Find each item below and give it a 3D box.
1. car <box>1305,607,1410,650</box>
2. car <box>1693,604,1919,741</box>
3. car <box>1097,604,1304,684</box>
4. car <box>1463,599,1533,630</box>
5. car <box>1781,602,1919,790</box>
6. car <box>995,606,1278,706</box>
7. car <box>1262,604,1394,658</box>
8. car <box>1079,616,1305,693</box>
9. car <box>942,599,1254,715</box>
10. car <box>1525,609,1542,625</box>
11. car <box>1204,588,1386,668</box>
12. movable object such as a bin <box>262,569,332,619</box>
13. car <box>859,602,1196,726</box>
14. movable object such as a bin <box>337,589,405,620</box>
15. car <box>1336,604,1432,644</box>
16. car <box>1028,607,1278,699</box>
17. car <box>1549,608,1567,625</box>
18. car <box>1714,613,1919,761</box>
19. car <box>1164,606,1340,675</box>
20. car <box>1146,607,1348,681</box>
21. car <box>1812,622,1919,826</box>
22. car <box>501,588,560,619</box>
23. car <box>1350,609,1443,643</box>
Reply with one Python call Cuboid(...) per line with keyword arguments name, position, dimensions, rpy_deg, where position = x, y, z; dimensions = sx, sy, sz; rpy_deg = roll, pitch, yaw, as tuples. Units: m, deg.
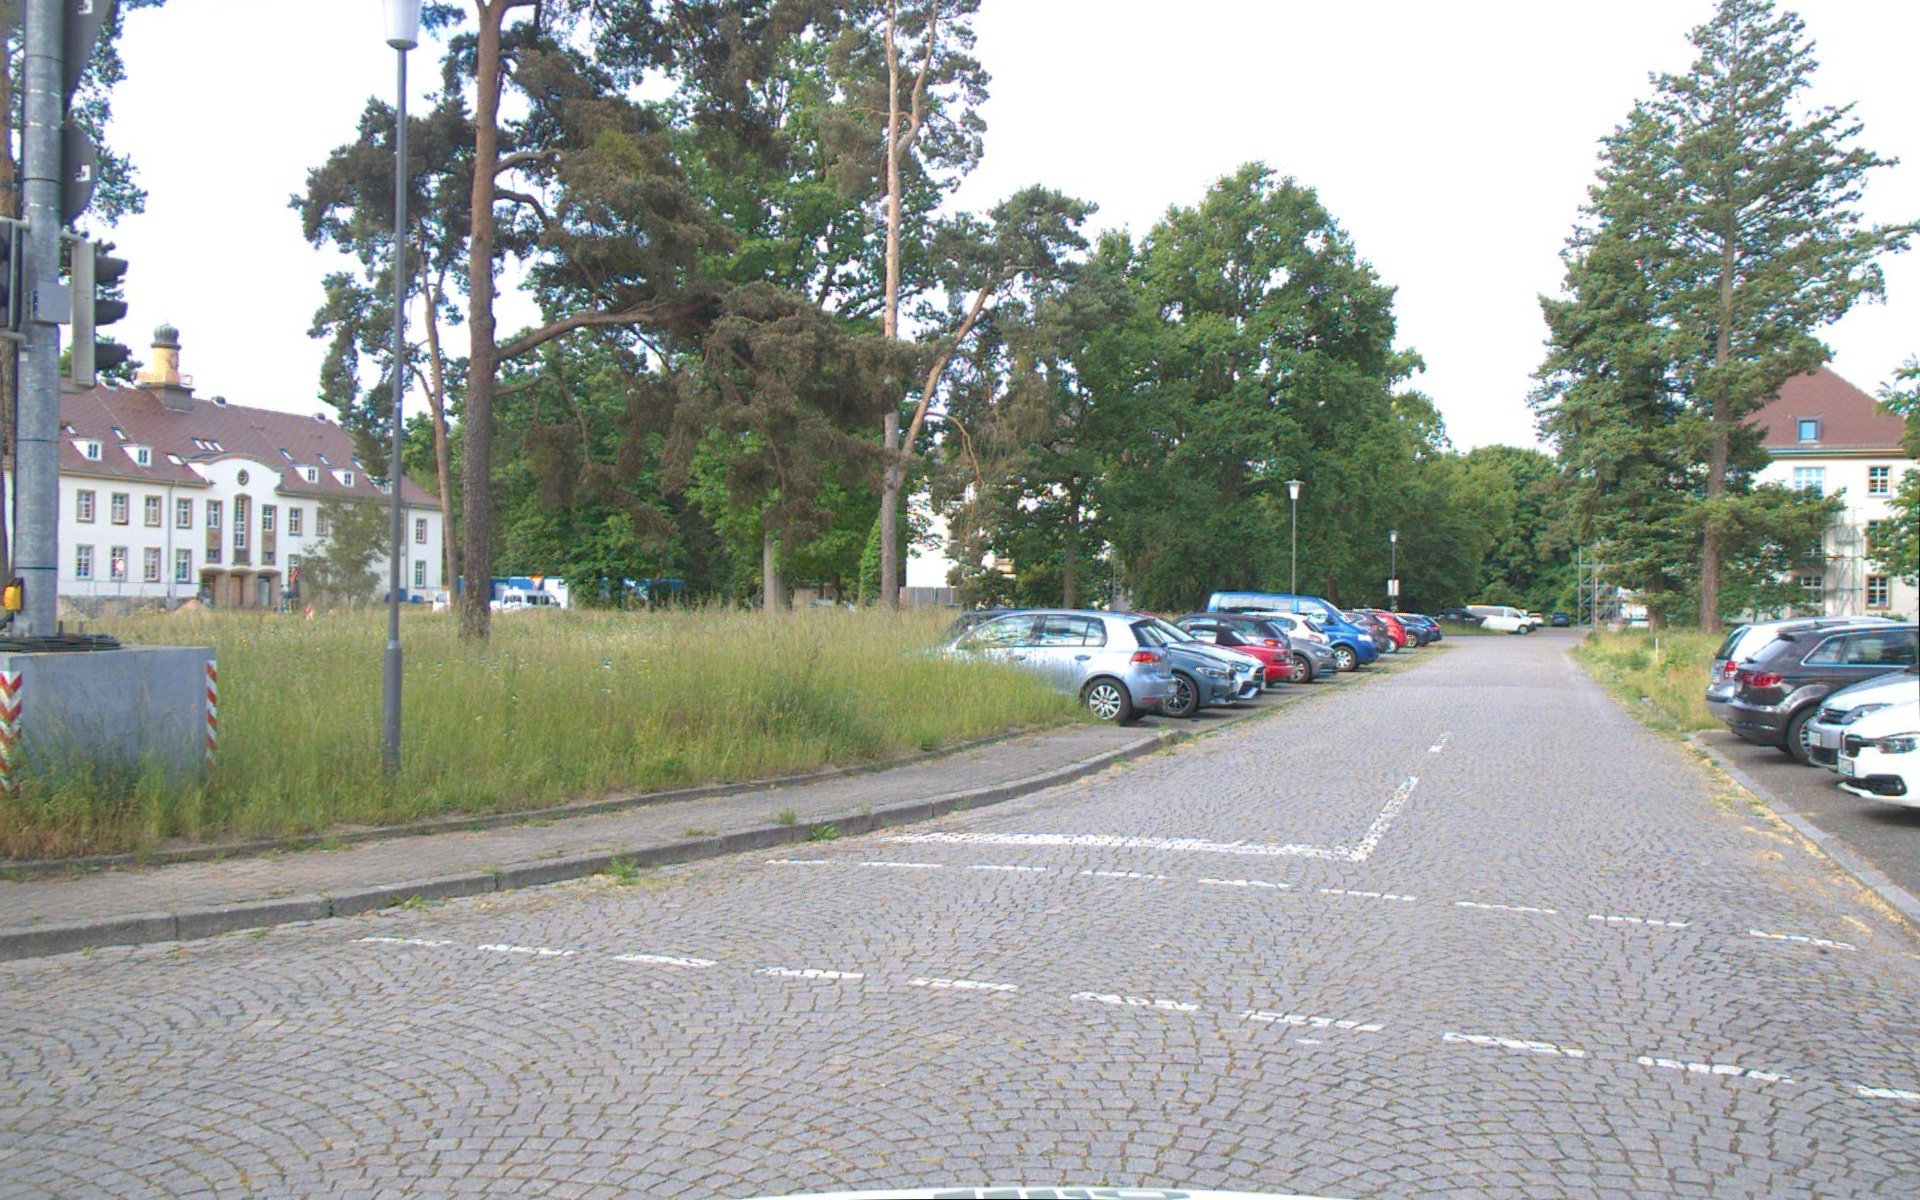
Cuboid(name="car", position=(15.181, 1.060, 63.177), dimensions=(3.736, 1.515, 1.788), rpy_deg=(1, 0, 19))
Cuboid(name="car", position=(11.011, 0.845, 19.982), dimensions=(3.692, 1.505, 1.744), rpy_deg=(-2, 0, 17))
Cuboid(name="car", position=(5.056, 0.889, 34.681), dimensions=(4.004, 1.506, 1.755), rpy_deg=(1, 0, 21))
Cuboid(name="car", position=(39.765, 1.101, 122.282), dimensions=(4.874, 2.109, 2.052), rpy_deg=(2, -1, 18))
Cuboid(name="car", position=(9.843, 0.776, 14.675), dimensions=(4.237, 1.602, 1.828), rpy_deg=(-2, -1, 14))
Cuboid(name="car", position=(2.957, 0.899, 27.598), dimensions=(4.345, 1.481, 1.949), rpy_deg=(1, -1, 20))
Cuboid(name="car", position=(11.893, 0.975, 53.396), dimensions=(3.983, 1.602, 1.955), rpy_deg=(1, 0, 18))
Cuboid(name="car", position=(4.502, 1.026, 32.029), dimensions=(4.045, 1.305, 1.764), rpy_deg=(1, 0, 20))
Cuboid(name="car", position=(2.116, 0.818, 25.047), dimensions=(4.406, 1.564, 1.871), rpy_deg=(1, -1, 16))
Cuboid(name="car", position=(63.729, 1.859, 183.858), dimensions=(1.752, 1.665, 4.062), rpy_deg=(0, -2, 18))
Cuboid(name="car", position=(9.120, 0.734, 44.965), dimensions=(4.611, 2.015, 2.039), rpy_deg=(1, 0, 19))
Cuboid(name="movable object such as a bin", position=(-50.657, -0.456, 126.333), dimensions=(6.014, 3.705, 2.132), rpy_deg=(0, -2, 37))
Cuboid(name="car", position=(0.939, 0.835, 22.677), dimensions=(4.240, 1.496, 1.827), rpy_deg=(1, -1, 21))
Cuboid(name="movable object such as a bin", position=(-44.787, 0.337, 125.785), dimensions=(4.417, 2.293, 2.378), rpy_deg=(0, -2, 25))
Cuboid(name="car", position=(18.675, 1.050, 72.817), dimensions=(3.986, 1.632, 1.788), rpy_deg=(1, 0, 18))
Cuboid(name="car", position=(3.491, 0.908, 29.861), dimensions=(4.166, 1.480, 1.856), rpy_deg=(1, 0, 20))
Cuboid(name="car", position=(66.253, 1.844, 183.292), dimensions=(1.752, 1.750, 4.062), rpy_deg=(0, -2, 18))
Cuboid(name="car", position=(10.380, 0.865, 17.337), dimensions=(4.274, 1.430, 1.797), rpy_deg=(-2, 0, 18))
Cuboid(name="car", position=(7.083, 0.945, 40.062), dimensions=(3.923, 1.528, 1.843), rpy_deg=(1, 0, 21))
Cuboid(name="car", position=(6.466, 0.950, 37.238), dimensions=(4.216, 1.506, 1.731), rpy_deg=(1, 0, 21))
Cuboid(name="car", position=(8.994, 0.841, 12.240), dimensions=(4.453, 1.450, 1.828), rpy_deg=(-2, -1, 16))
Cuboid(name="car", position=(-30.979, 0.282, 119.367), dimensions=(2.019, 2.132, 4.346), rpy_deg=(0, -2, 19))
Cuboid(name="car", position=(20.390, 1.190, 77.191), dimensions=(3.989, 1.493, 1.625), rpy_deg=(1, 0, 23))
